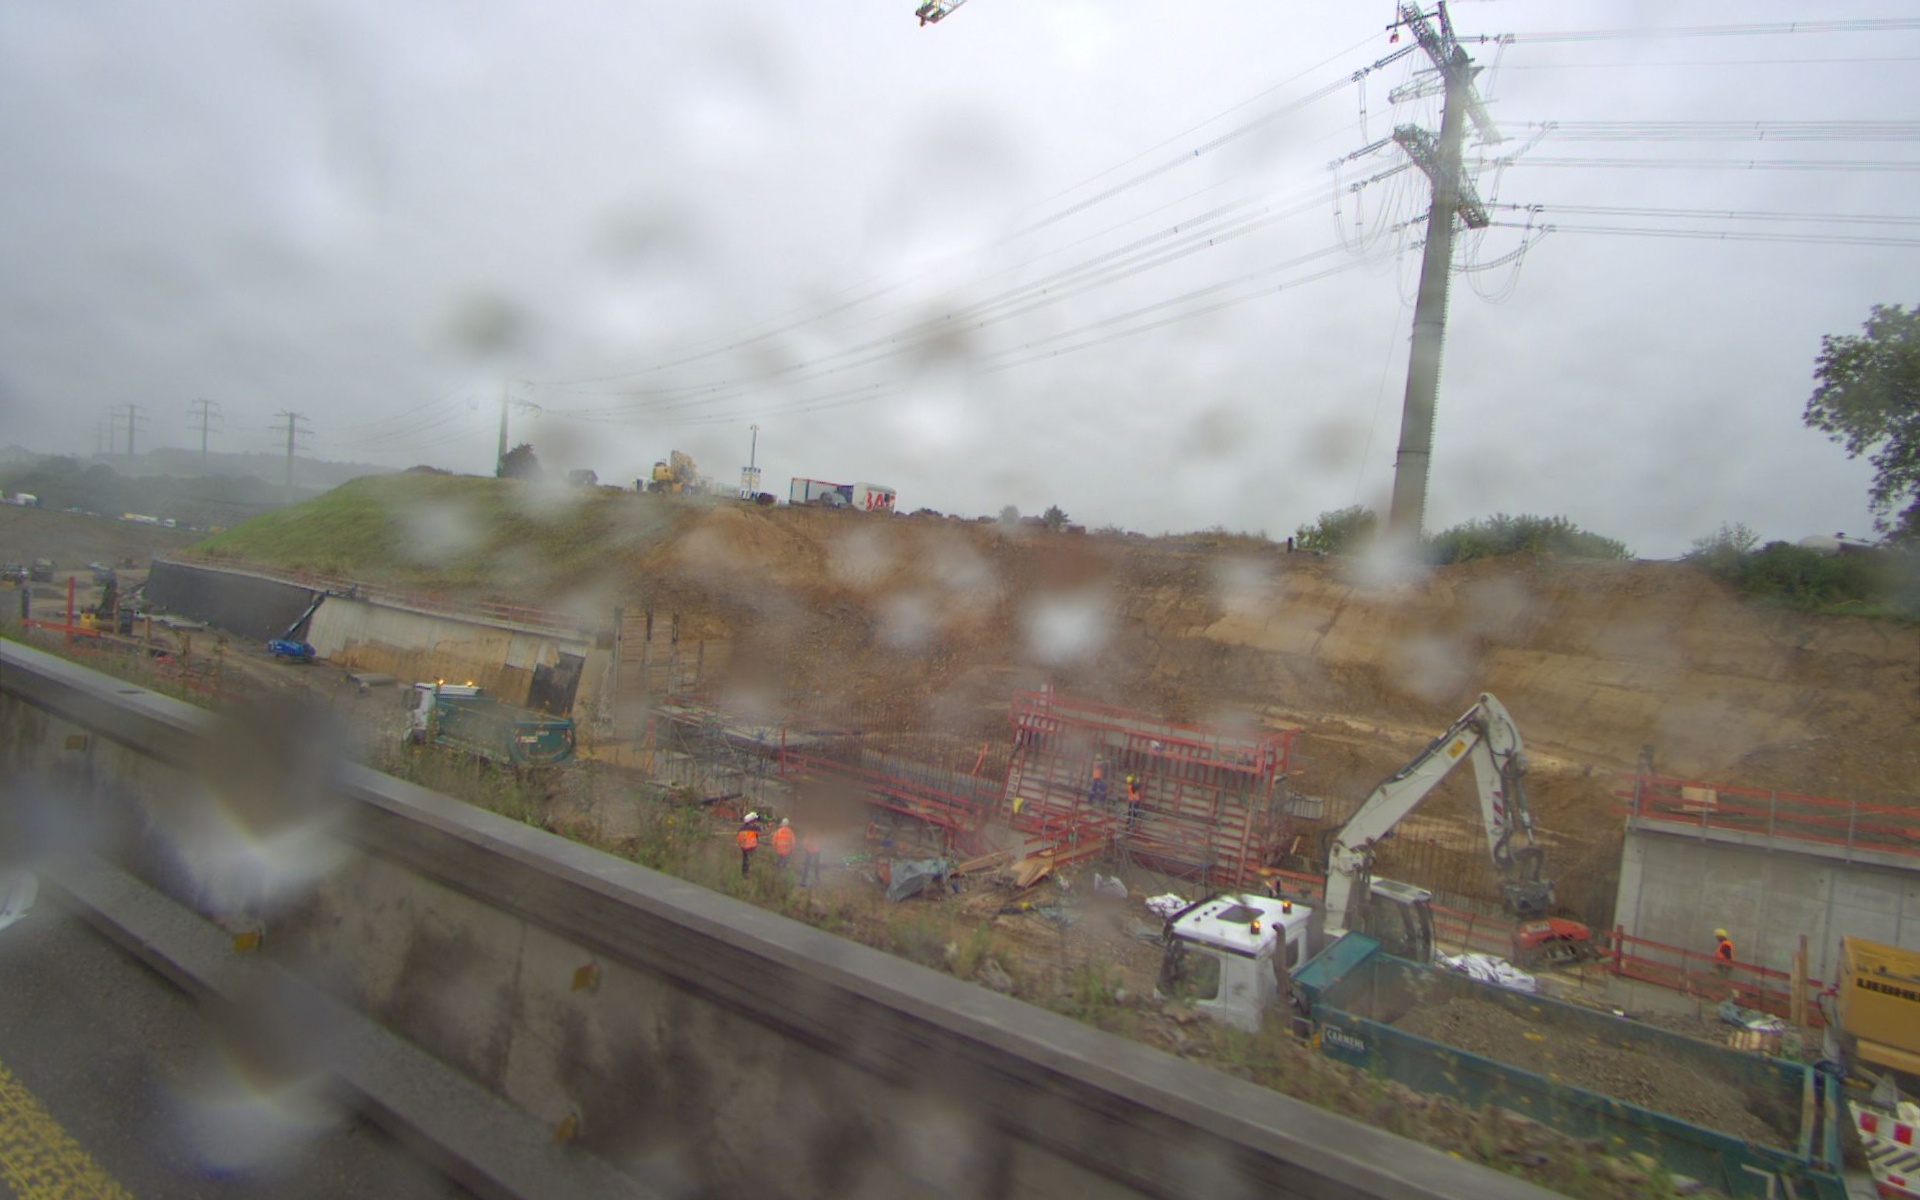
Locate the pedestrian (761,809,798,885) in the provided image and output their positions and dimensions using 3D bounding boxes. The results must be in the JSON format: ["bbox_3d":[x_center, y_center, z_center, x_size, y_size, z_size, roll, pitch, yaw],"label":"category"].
[{"bbox_3d":[-5.154,7.039,28.761,0.721,1.968,0.575,6,0,4],"label":"pedestrian"}]

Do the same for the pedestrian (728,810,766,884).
[{"bbox_3d":[-6.082,7.029,28.721,0.724,1.892,0.573,6,0,39],"label":"pedestrian"}]

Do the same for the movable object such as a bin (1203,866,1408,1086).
[{"bbox_3d":[6.834,7.152,19.756,2.920,2.771,3.153,6,-1,32],"label":"movable object such as a bin"}]

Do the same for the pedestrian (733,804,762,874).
[{"bbox_3d":[-6.266,7.029,29.647,0.567,1.892,0.732,6,0,-21],"label":"pedestrian"}]

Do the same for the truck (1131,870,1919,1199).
[{"bbox_3d":[6.944,6.724,13.774,8.832,3.546,2.693,5,-1,44],"label":"truck"}]

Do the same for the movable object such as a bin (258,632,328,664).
[{"bbox_3d":[-50.537,3.669,76.245,3.772,2.036,2.001,5,-3,-4],"label":"movable object such as a bin"}]

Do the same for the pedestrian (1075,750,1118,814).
[{"bbox_3d":[4.901,6.519,36.063,0.885,2.014,0.907,5,-10,37],"label":"pedestrian"}]

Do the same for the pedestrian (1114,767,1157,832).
[{"bbox_3d":[6.127,6.957,35.096,0.885,2.014,0.907,5,-10,37],"label":"pedestrian"}]

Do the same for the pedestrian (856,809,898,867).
[{"bbox_3d":[-3.254,9.328,39.377,0.892,2.014,0.900,6,-10,36],"label":"pedestrian"}]

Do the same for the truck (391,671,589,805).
[{"bbox_3d":[-18.042,5.052,38.273,8.928,3.533,2.729,6,-1,37],"label":"truck"}]

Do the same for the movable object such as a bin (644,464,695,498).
[{"bbox_3d":[-26.333,-10.782,91.193,3.911,2.474,2.427,9,1,40],"label":"movable object such as a bin"}]

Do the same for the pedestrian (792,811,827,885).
[{"bbox_3d":[-4.336,7.139,28.975,0.725,1.968,0.573,6,0,-20],"label":"pedestrian"}]

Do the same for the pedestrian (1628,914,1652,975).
[{"bbox_3d":[17.999,9.107,26.620,0.393,1.446,0.425,6,-9,35],"label":"pedestrian"}]
